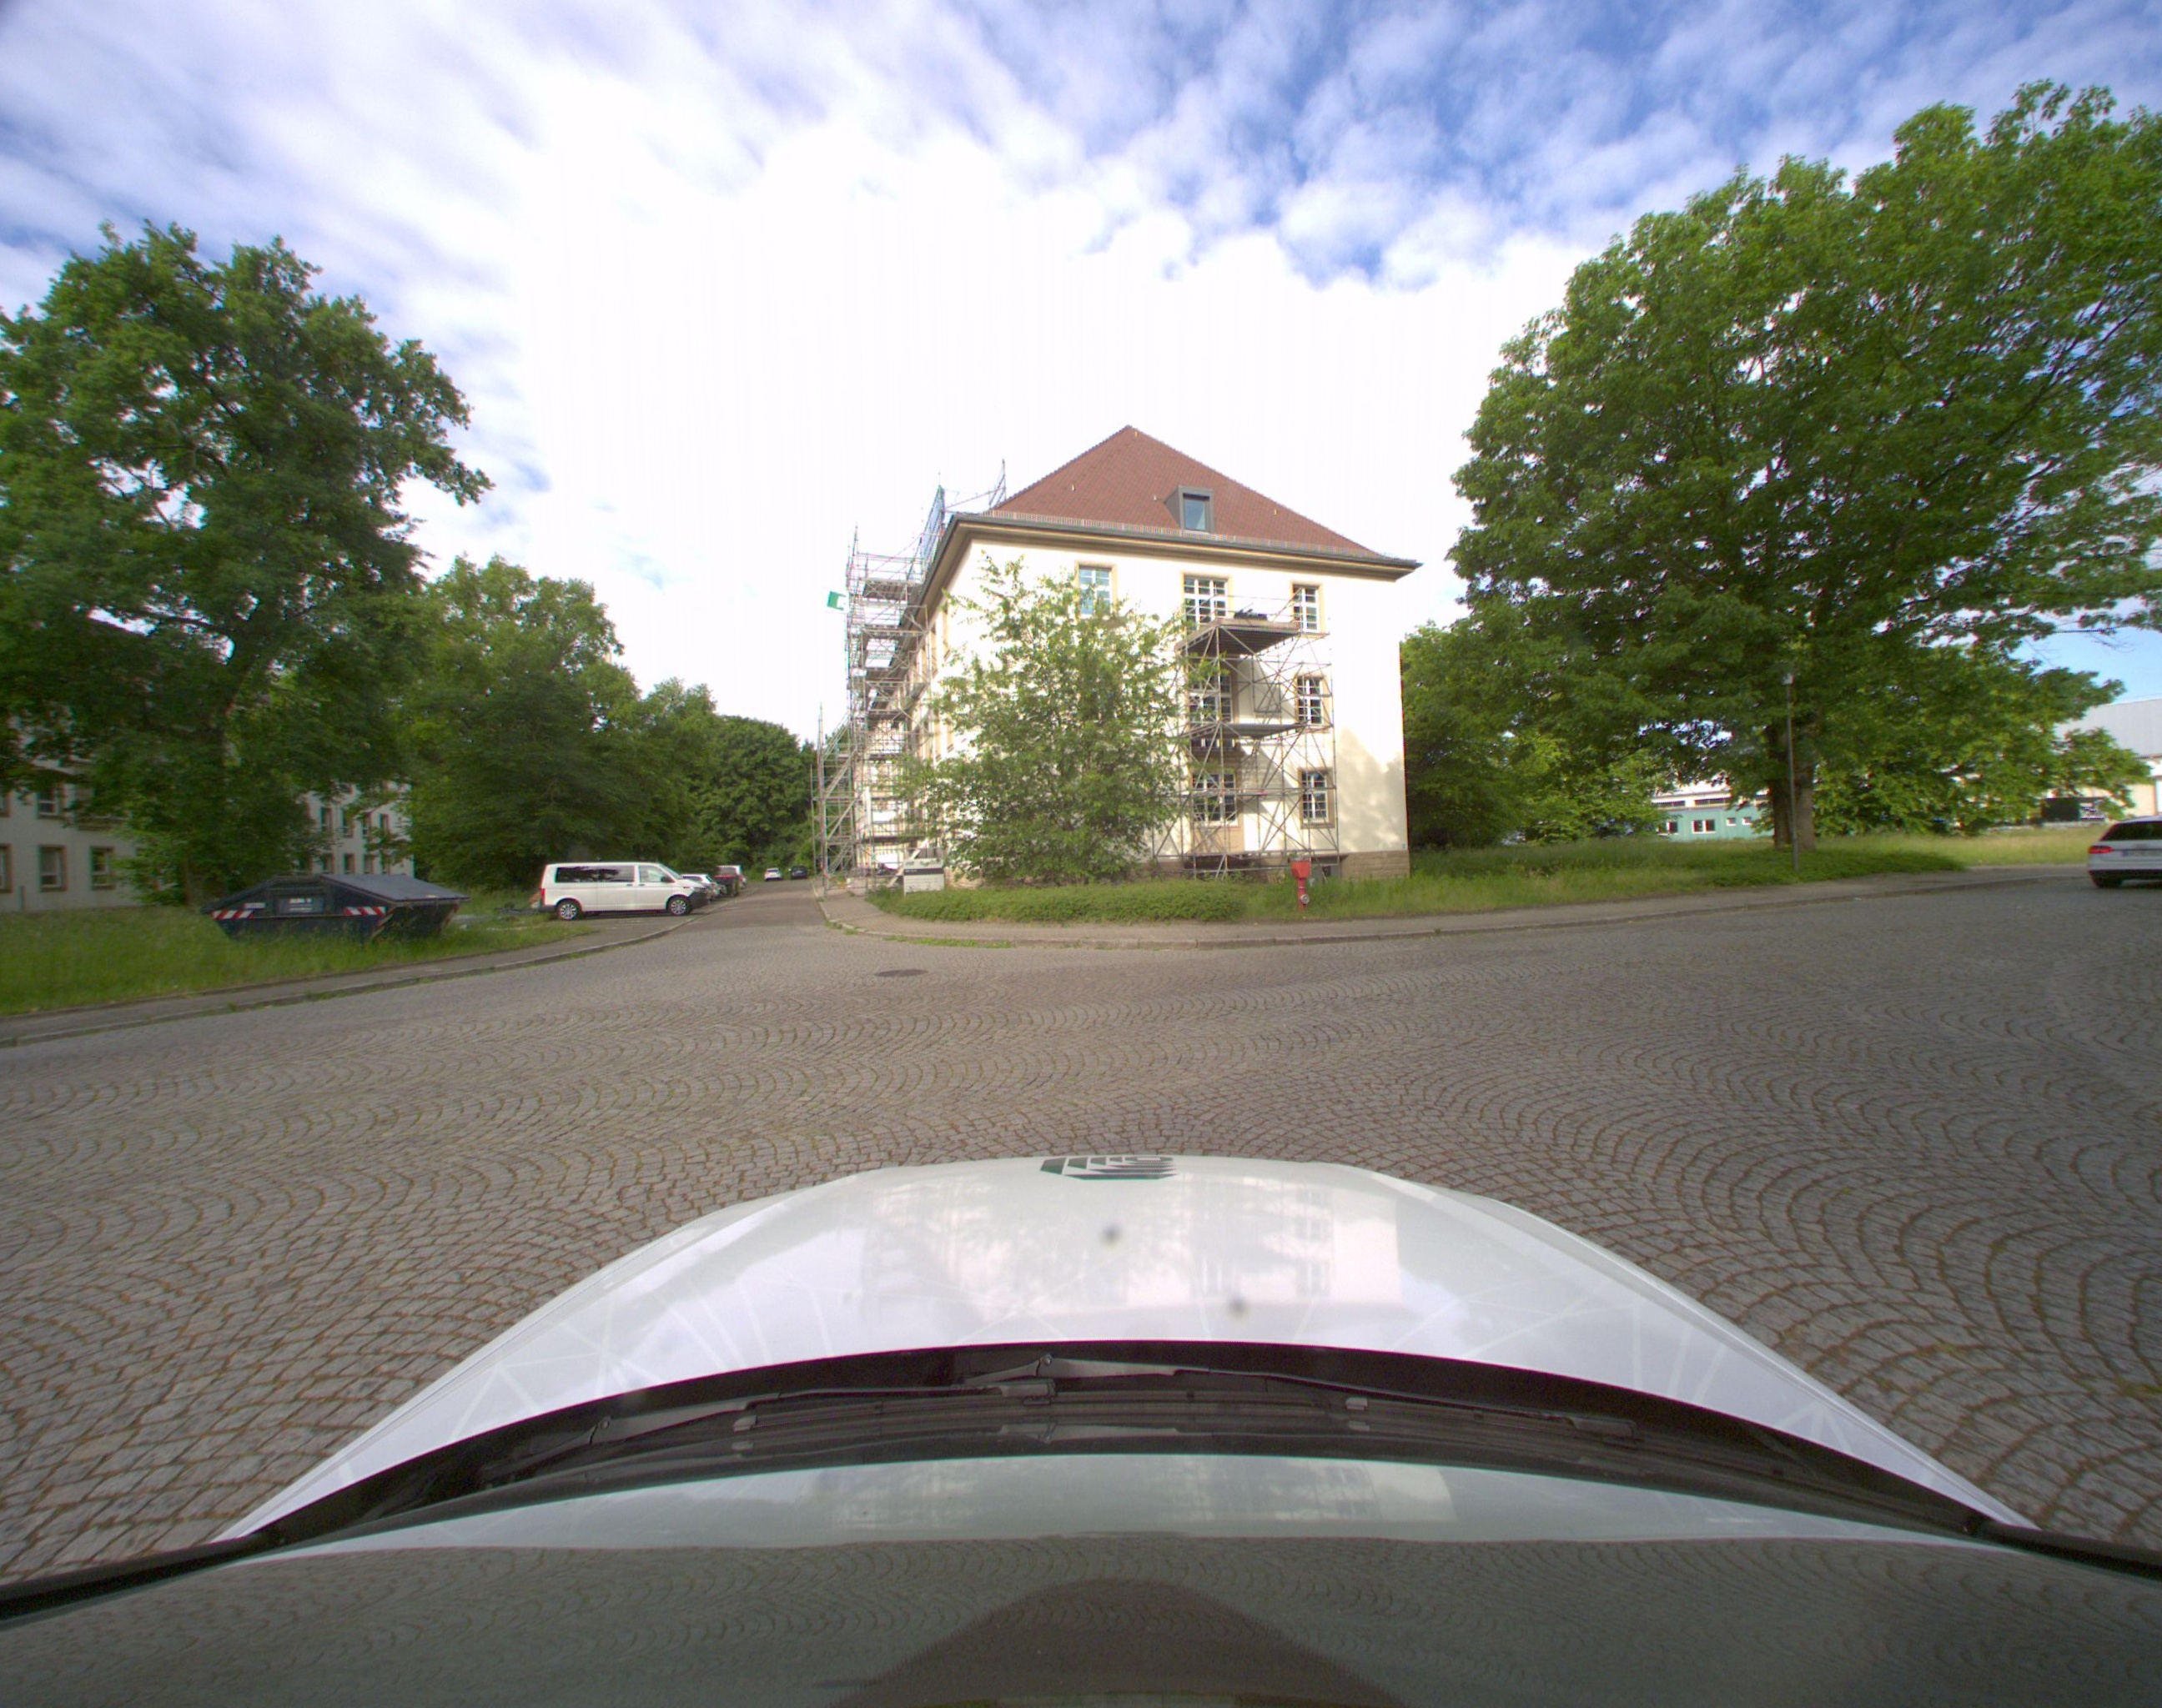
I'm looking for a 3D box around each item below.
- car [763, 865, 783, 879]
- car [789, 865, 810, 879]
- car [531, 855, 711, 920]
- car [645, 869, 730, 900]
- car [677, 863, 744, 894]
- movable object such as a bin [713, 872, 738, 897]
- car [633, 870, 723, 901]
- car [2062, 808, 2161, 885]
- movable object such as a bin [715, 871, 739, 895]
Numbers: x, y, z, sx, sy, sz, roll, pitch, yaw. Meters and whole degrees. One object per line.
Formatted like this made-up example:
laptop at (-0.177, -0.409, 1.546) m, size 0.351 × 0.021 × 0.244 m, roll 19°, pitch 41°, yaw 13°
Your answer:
car at (-34.774, 2.077, 91.935) m, size 2.009 × 1.548 × 3.929 m, roll 0°, pitch -2°, yaw -22°
car at (-32.111, 2.092, 93.099) m, size 2.068 × 1.594 × 3.977 m, roll 0°, pitch -2°, yaw -16°
car at (-16.137, 1.148, 28.935) m, size 5.218 × 2.060 × 2.173 m, roll -1°, pitch -1°, yaw -20°
car at (-20.695, 1.604, 42.965) m, size 3.684 × 1.592 × 1.757 m, roll 0°, pitch -2°, yaw -13°
car at (-24.735, 1.612, 54.554) m, size 4.004 × 2.014 × 1.906 m, roll 0°, pitch -2°, yaw -23°
movable object such as a bin at (-20.473, 1.730, 46.914) m, size 1.187 × 1.407 × 0.969 m, roll 0°, pitch -2°, yaw -18°
car at (-20.116, 1.576, 40.803) m, size 3.629 × 1.481 × 1.814 m, roll 0°, pitch -2°, yaw -11°
car at (22.222, -0.237, 16.276) m, size 4.707 × 1.437 × 1.842 m, roll -3°, pitch -1°, yaw -20°
movable object such as a bin at (-20.898, 1.688, 48.094) m, size 1.187 × 1.407 × 0.969 m, roll 0°, pitch -2°, yaw -18°
